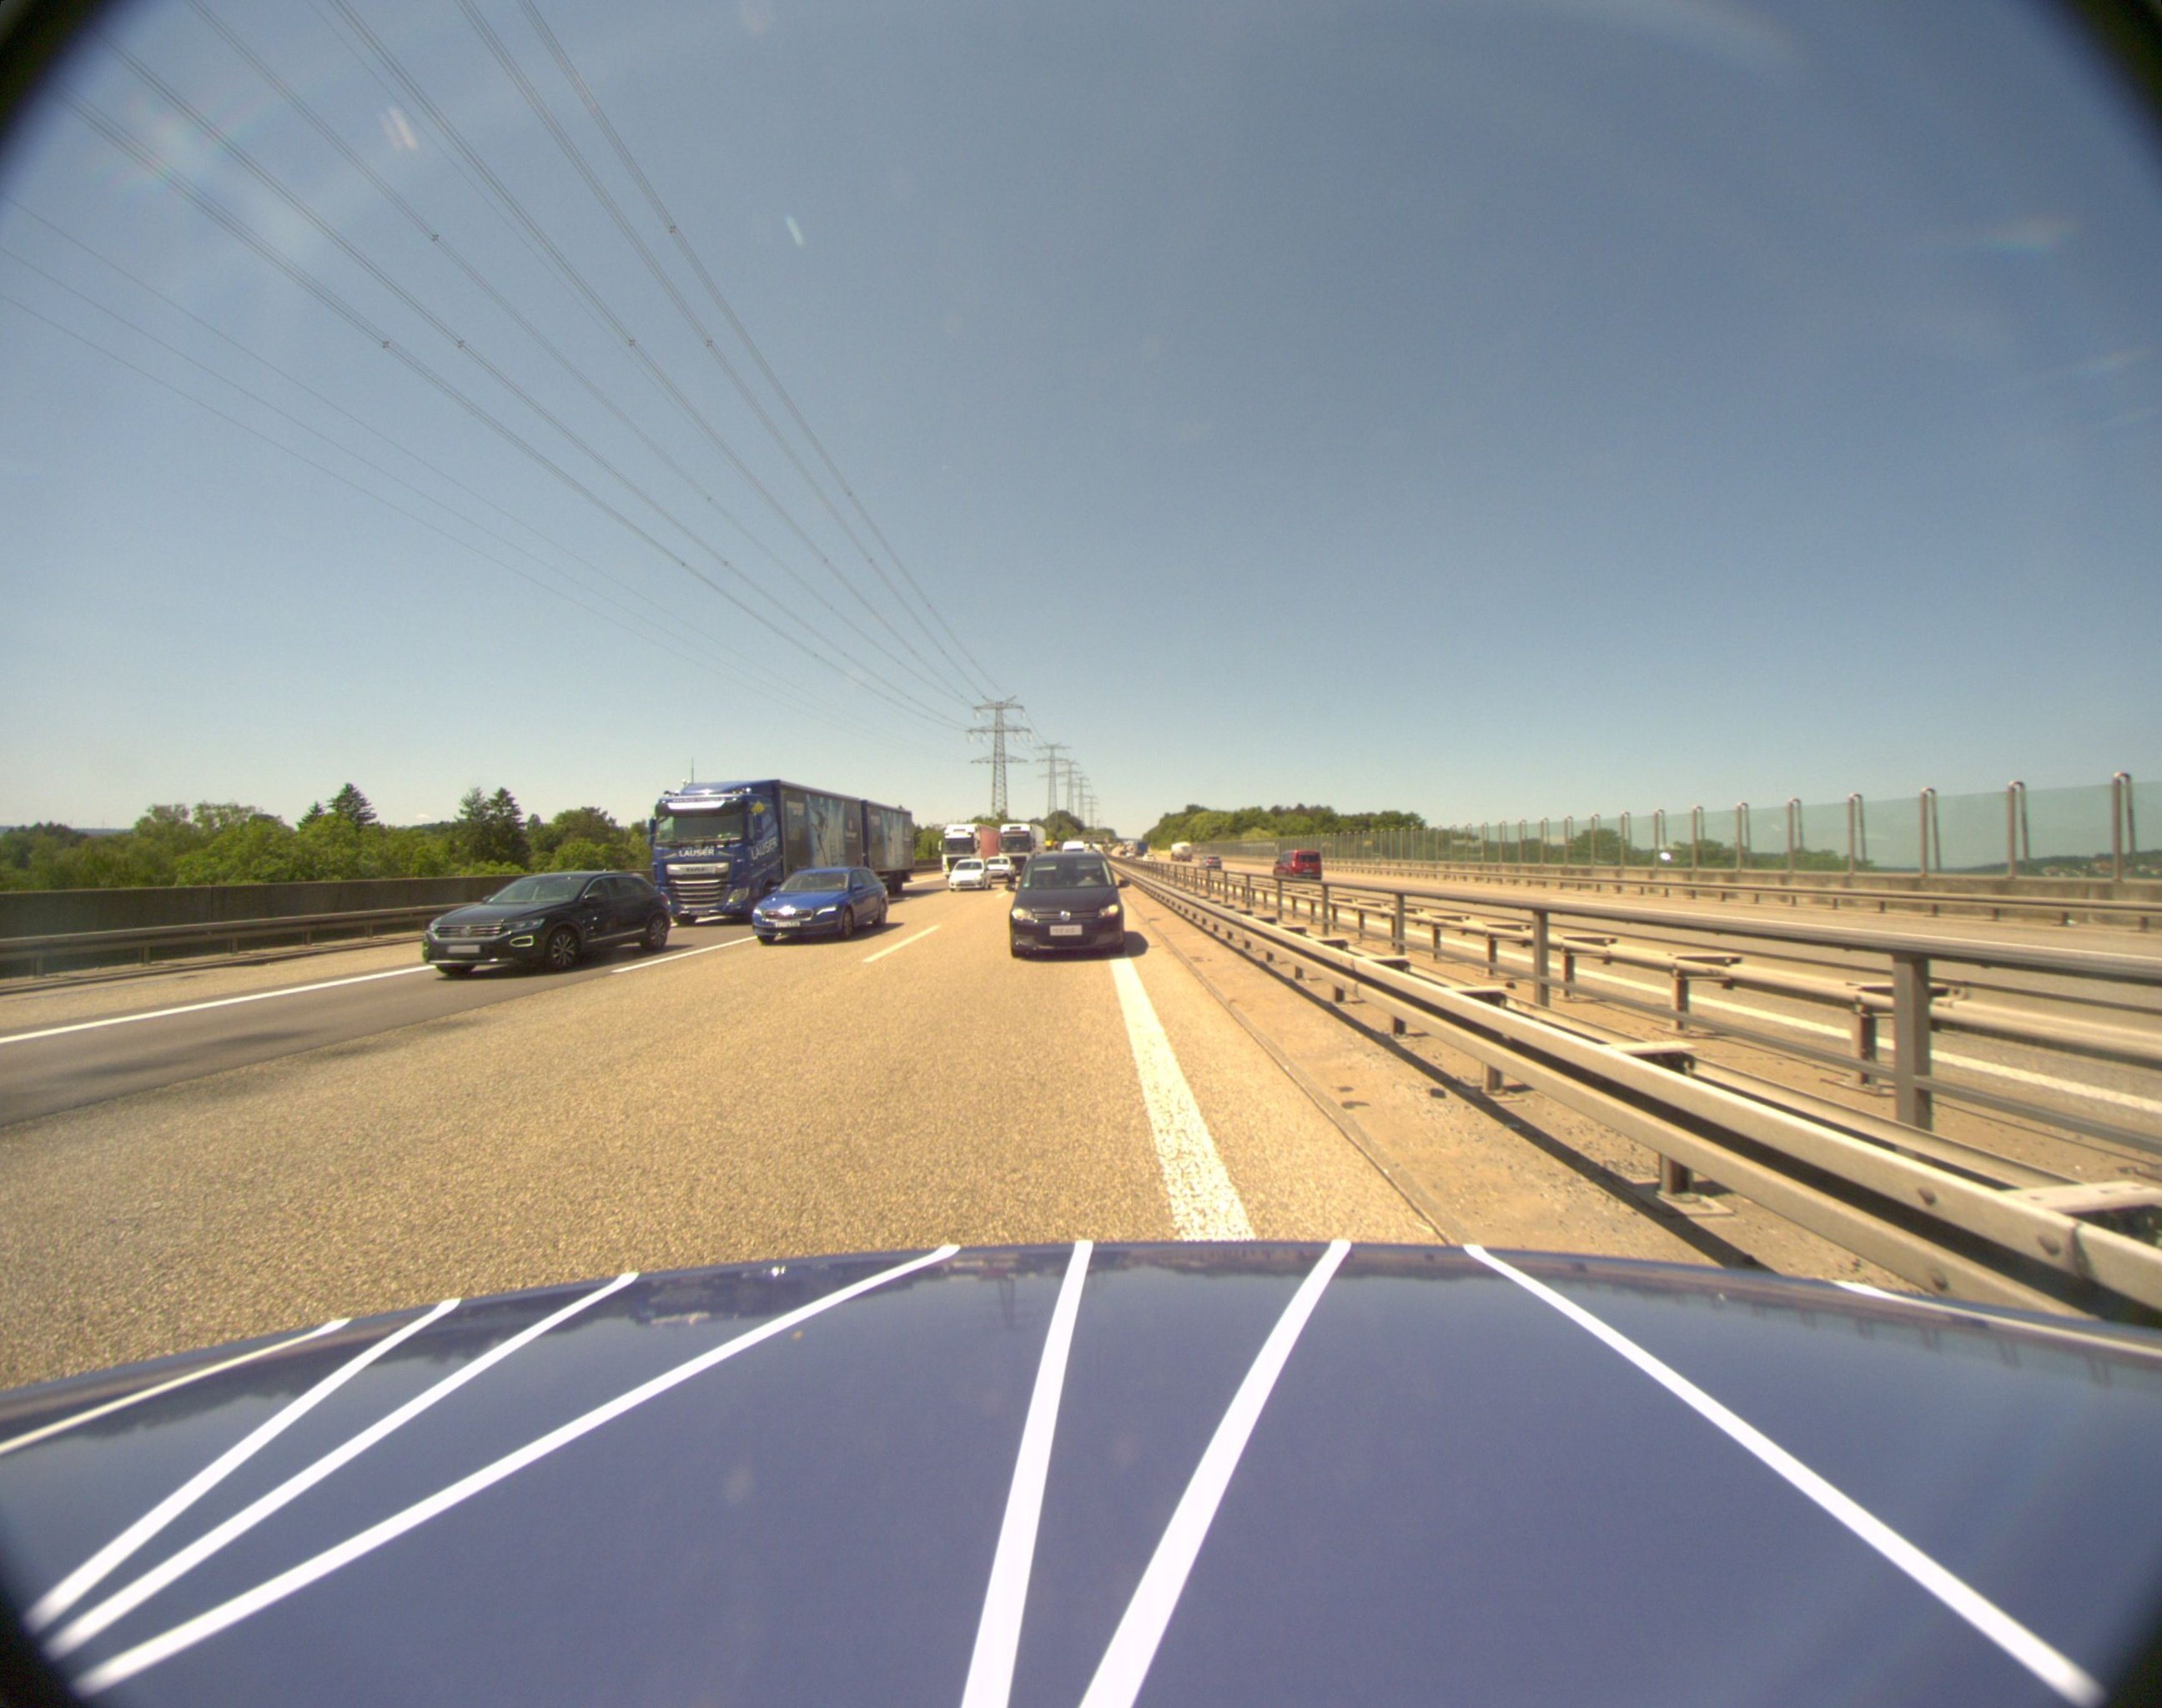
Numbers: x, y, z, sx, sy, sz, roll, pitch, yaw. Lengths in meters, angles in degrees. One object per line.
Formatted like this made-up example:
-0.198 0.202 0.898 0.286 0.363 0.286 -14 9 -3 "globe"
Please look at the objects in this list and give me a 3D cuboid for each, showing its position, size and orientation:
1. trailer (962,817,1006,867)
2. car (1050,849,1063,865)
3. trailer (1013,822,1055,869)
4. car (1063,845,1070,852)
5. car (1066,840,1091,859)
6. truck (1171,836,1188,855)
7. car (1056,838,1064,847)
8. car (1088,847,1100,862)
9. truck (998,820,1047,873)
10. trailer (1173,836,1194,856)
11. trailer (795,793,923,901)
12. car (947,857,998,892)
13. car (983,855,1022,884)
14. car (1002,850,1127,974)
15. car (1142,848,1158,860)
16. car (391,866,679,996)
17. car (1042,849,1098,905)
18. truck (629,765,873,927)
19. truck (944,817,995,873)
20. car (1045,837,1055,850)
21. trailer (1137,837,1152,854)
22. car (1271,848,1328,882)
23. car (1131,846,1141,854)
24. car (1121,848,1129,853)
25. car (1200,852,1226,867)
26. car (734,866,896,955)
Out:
-8.508 -1.046 67.921 2.608 4.094 9.083 -2 1 0 "trailer"
-3.596 0.411 110.980 1.704 2.116 3.999 2 1 1 "car"
-4.137 -0.785 68.915 2.822 3.830 9.085 -2 1 2 "trailer"
-4.190 -1.596 219.106 1.704 2.116 3.999 2 1 1 "car"
-0.186 -0.431 64.545 1.924 1.501 3.996 -2 1 1 "car"
18.324 -1.605 141.852 2.527 3.514 5.329 0 1 1 "truck"
-5.058 -2.920 186.366 1.704 2.116 3.999 2 1 1 "car"
1.970 0.089 118.006 1.704 2.116 3.999 -2 1 1 "car"
-4.511 -0.633 60.230 2.849 3.804 8.264 -2 1 2 "truck"
18.273 -1.488 136.358 2.505 3.520 10.902 0 1 1 "trailer"
-9.472 -0.324 33.669 2.835 4.066 8.637 -2 1 1 "trailer"
-5.135 0.929 36.486 1.712 1.443 4.144 -2 1 1 "car"
-4.563 0.864 44.796 1.712 1.501 4.144 -2 1 1 "car"
-0.222 0.824 12.789 1.713 1.669 3.931 -2 1 0 "car"
9.463 -0.063 104.576 1.876 1.521 3.608 4 1 0 "car"
-8.749 1.111 12.719 1.712 1.645 4.117 -2 1 1 "car"
-0.346 0.719 26.029 1.713 1.669 3.931 -2 1 0 "car"
-9.661 -0.264 24.172 2.859 3.927 10.393 -2 1 1 "truck"
-8.524 -0.705 59.212 2.608 3.965 8.263 -2 1 0 "truck"
-6.349 -2.190 156.337 1.704 2.525 3.999 2 1 1 "car"
15.870 -2.185 191.602 2.711 4.141 12.047 0 1 0 "trailer"
12.419 0.567 43.449 1.844 1.812 4.746 0 1 0 "car"
12.023 -0.872 166.323 1.811 1.630 3.999 1 1 -1 "car"
12.641 -0.999 217.878 1.887 1.543 4.188 -2 1 -1 "car"
13.140 0.526 75.788 1.876 1.434 4.384 1 1 0 "car"
-5.439 1.073 16.246 1.712 1.443 4.563 -2 1 1 "car"
